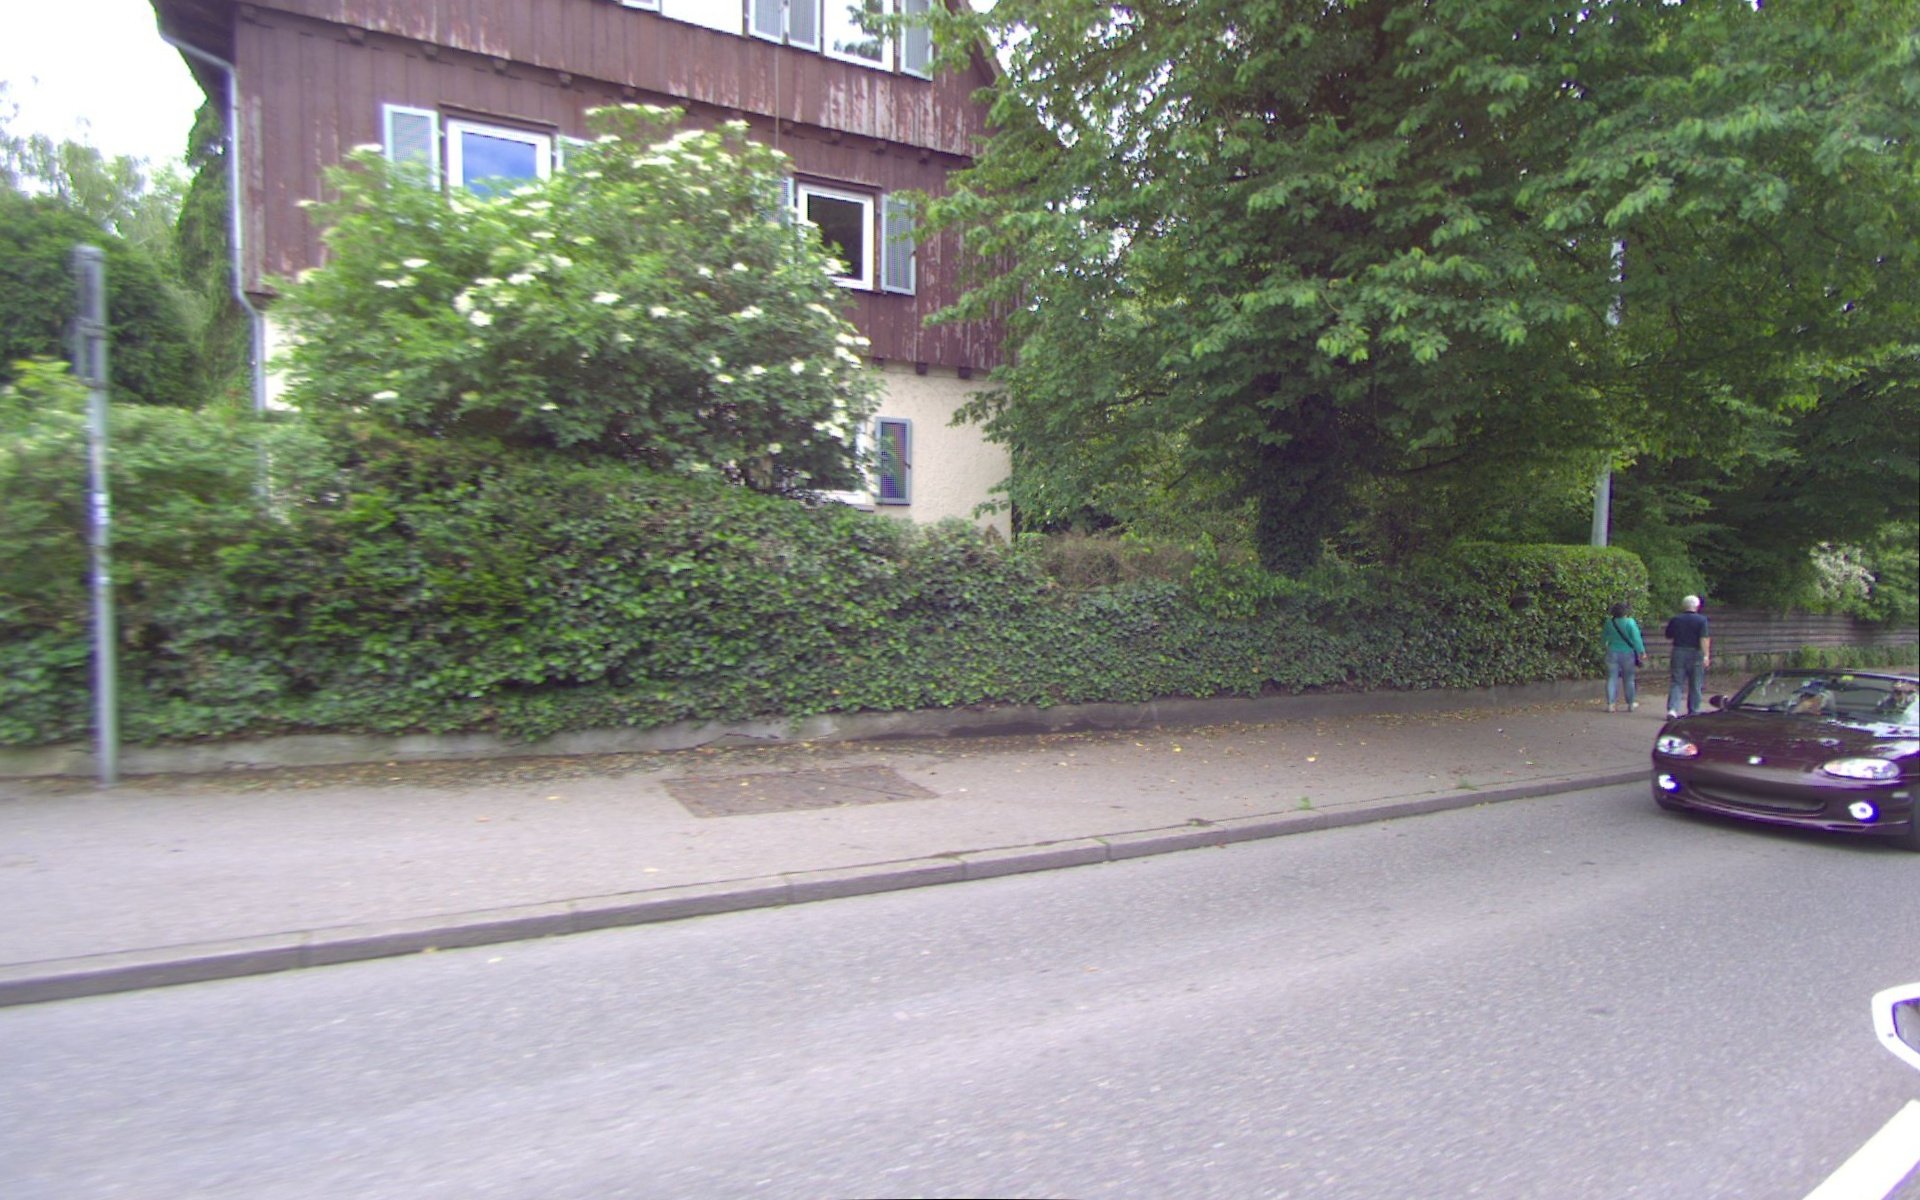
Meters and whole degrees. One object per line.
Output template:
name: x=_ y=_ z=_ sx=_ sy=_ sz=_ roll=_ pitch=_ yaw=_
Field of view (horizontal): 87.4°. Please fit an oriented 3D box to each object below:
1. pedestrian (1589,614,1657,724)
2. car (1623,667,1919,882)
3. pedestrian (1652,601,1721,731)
pedestrian: x=9.299 y=0.941 z=14.090 sx=0.661 sy=1.469 sz=0.753 roll=3 pitch=1 yaw=41
car: x=7.133 y=1.214 z=8.062 sx=3.746 sy=1.192 sz=1.681 roll=1 pitch=0 yaw=-33
pedestrian: x=9.876 y=0.871 z=13.648 sx=0.621 sy=1.684 sz=0.915 roll=3 pitch=1 yaw=41
